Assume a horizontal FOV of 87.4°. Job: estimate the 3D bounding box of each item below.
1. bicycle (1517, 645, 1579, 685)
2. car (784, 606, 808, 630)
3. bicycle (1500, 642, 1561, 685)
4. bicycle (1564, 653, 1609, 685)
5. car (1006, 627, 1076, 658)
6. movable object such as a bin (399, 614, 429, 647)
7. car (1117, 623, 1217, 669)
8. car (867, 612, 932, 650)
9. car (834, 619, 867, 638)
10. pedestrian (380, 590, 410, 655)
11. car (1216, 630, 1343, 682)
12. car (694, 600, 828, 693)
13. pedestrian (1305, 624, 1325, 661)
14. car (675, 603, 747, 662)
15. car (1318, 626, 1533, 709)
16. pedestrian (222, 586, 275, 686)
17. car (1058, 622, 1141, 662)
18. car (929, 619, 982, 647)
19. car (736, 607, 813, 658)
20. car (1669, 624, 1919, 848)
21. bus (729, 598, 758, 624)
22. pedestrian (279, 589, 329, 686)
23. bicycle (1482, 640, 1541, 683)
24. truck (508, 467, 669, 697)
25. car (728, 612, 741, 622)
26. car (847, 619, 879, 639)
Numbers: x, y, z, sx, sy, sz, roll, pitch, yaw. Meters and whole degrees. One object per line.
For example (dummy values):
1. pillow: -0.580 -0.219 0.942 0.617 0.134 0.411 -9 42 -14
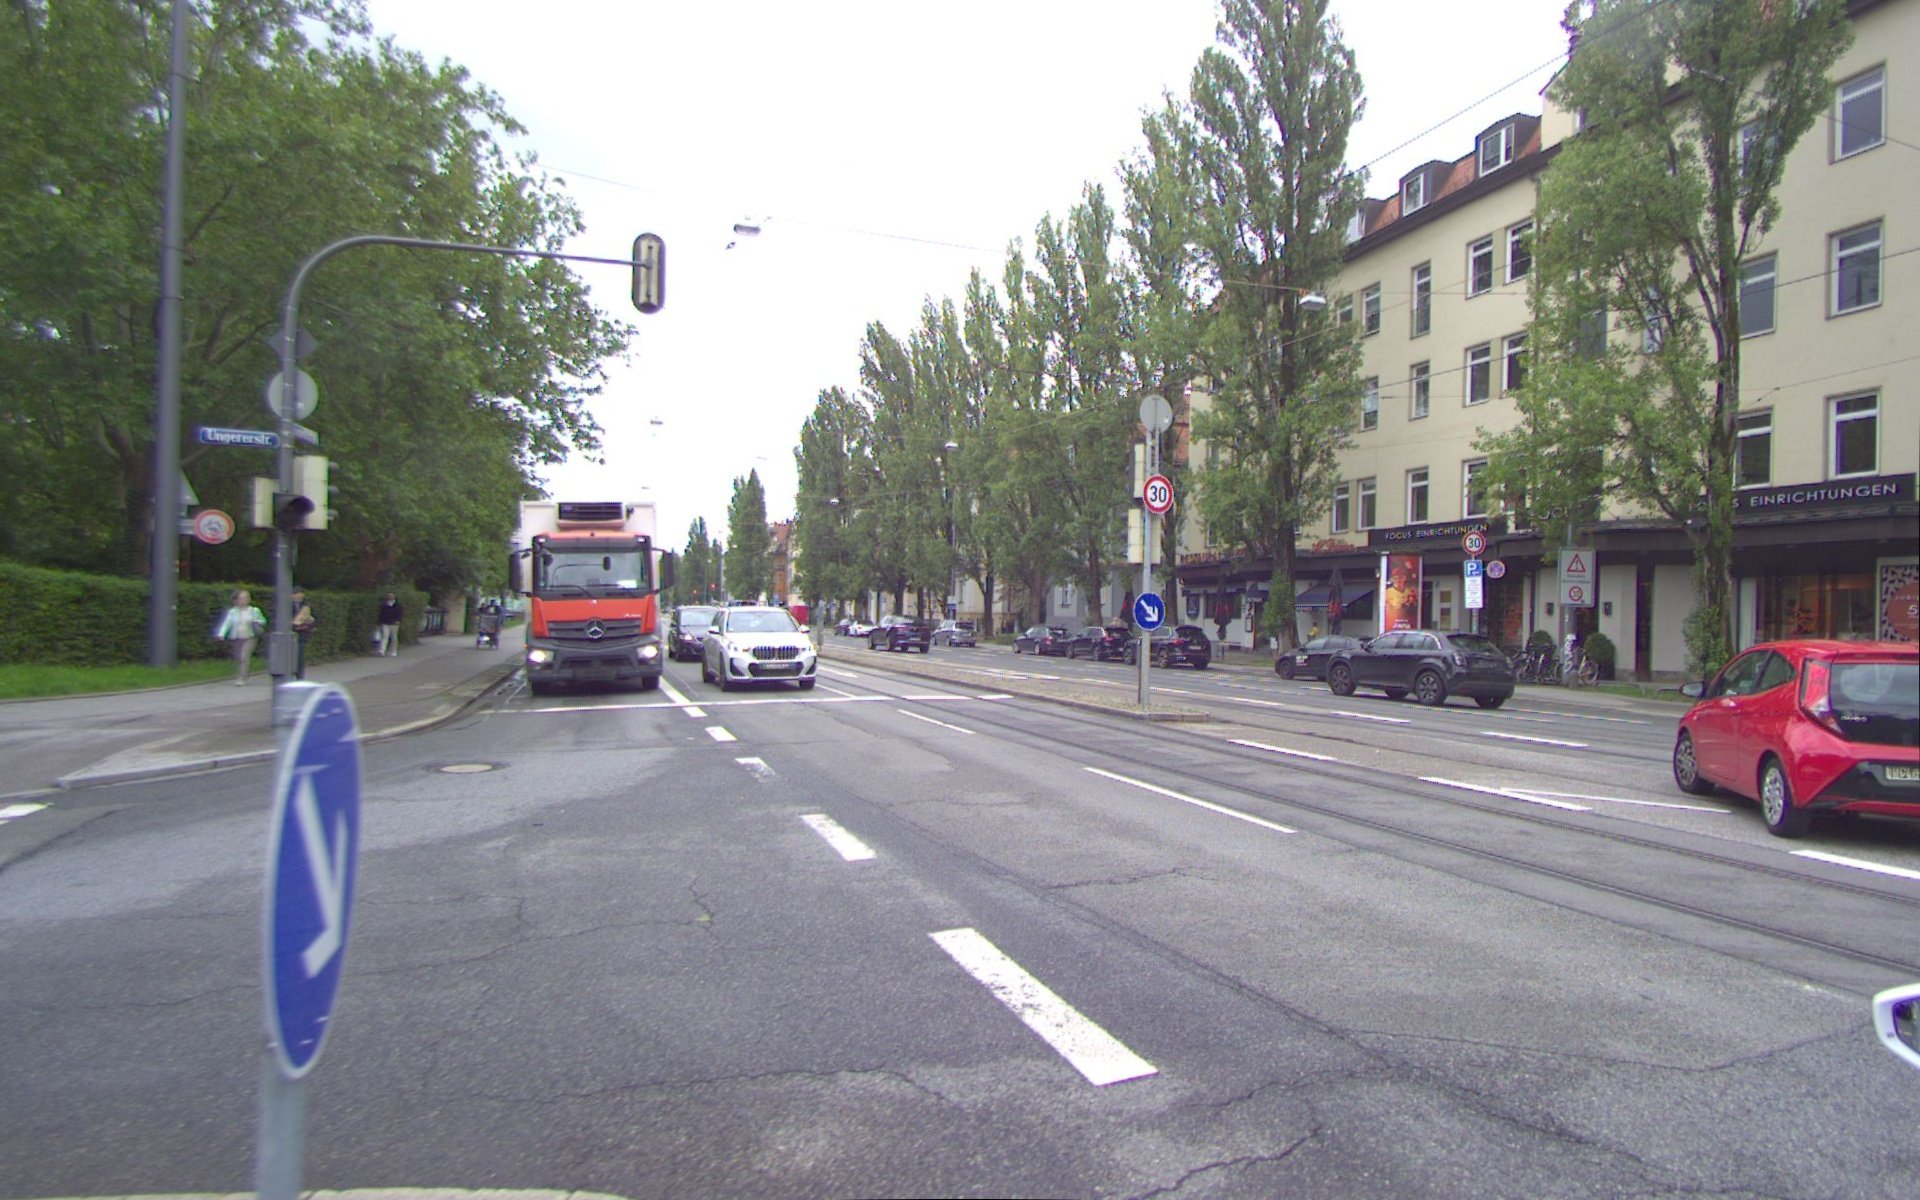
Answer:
1. bicycle: 16.591 1.838 28.338 1.862 1.096 0.493 2 -1 -23
2. car: -19.110 2.055 117.094 1.969 2.608 4.659 2 0 -19
3. bicycle: 16.368 1.818 28.814 1.862 1.200 0.493 2 -1 -23
4. bicycle: 18.135 1.991 29.071 1.352 0.895 0.387 2 -1 -23
5. car: 3.964 2.072 49.831 1.778 1.417 4.361 2 -1 -20
6. movable object such as a bin: -23.653 1.307 43.538 0.924 1.371 1.270 4 -2 -24
7. car: 7.949 1.742 39.016 1.701 1.633 4.450 2 -1 -20
8. car: -2.777 1.362 45.064 1.715 1.569 4.556 2 -1 -19
9. car: -9.715 2.509 89.024 1.779 1.528 4.427 2 -1 -22
10. pedestrian: -16.222 0.654 28.833 0.678 1.834 0.656 2 -1 -33
11. car: 10.296 1.794 32.652 1.780 1.485 3.977 2 -1 -23
12. car: -4.291 0.898 21.000 1.893 1.705 4.866 2 -1 -21
13. pedestrian: 15.557 1.860 44.008 0.566 1.583 0.493 2 1 -19
14. car: -8.088 1.010 32.318 1.800 1.705 4.870 2 -1 -19
15. car: 9.618 1.356 21.094 1.761 1.505 3.979 2 -1 -22
16. pedestrian: -12.284 0.613 17.363 0.678 1.685 0.550 2 -1 -33
17. car: 6.078 1.815 44.200 1.778 1.633 4.285 2 -1 -20
18. car: -0.335 2.008 61.925 1.778 1.633 4.526 2 -1 -20
19. car: -6.648 1.116 35.644 1.801 1.660 4.867 2 -1 -21
20. car: 7.153 0.996 8.196 1.603 1.459 3.374 2 -2 25
21. bus: -32.733 1.613 151.725 2.871 3.441 10.757 2 0 -19
22. pedestrian: -11.599 0.658 17.773 0.678 1.685 0.656 2 -1 -33
23. bicycle: 16.205 1.807 29.501 1.862 1.200 0.493 2 -1 -23
24. truck: -8.650 -0.237 23.582 2.707 4.033 11.662 0 -1 -20
25. car: -38.018 2.882 169.204 1.759 1.505 3.983 2 -1 -19
26. car: -8.175 2.429 84.100 1.777 1.528 3.983 2 -1 -19
